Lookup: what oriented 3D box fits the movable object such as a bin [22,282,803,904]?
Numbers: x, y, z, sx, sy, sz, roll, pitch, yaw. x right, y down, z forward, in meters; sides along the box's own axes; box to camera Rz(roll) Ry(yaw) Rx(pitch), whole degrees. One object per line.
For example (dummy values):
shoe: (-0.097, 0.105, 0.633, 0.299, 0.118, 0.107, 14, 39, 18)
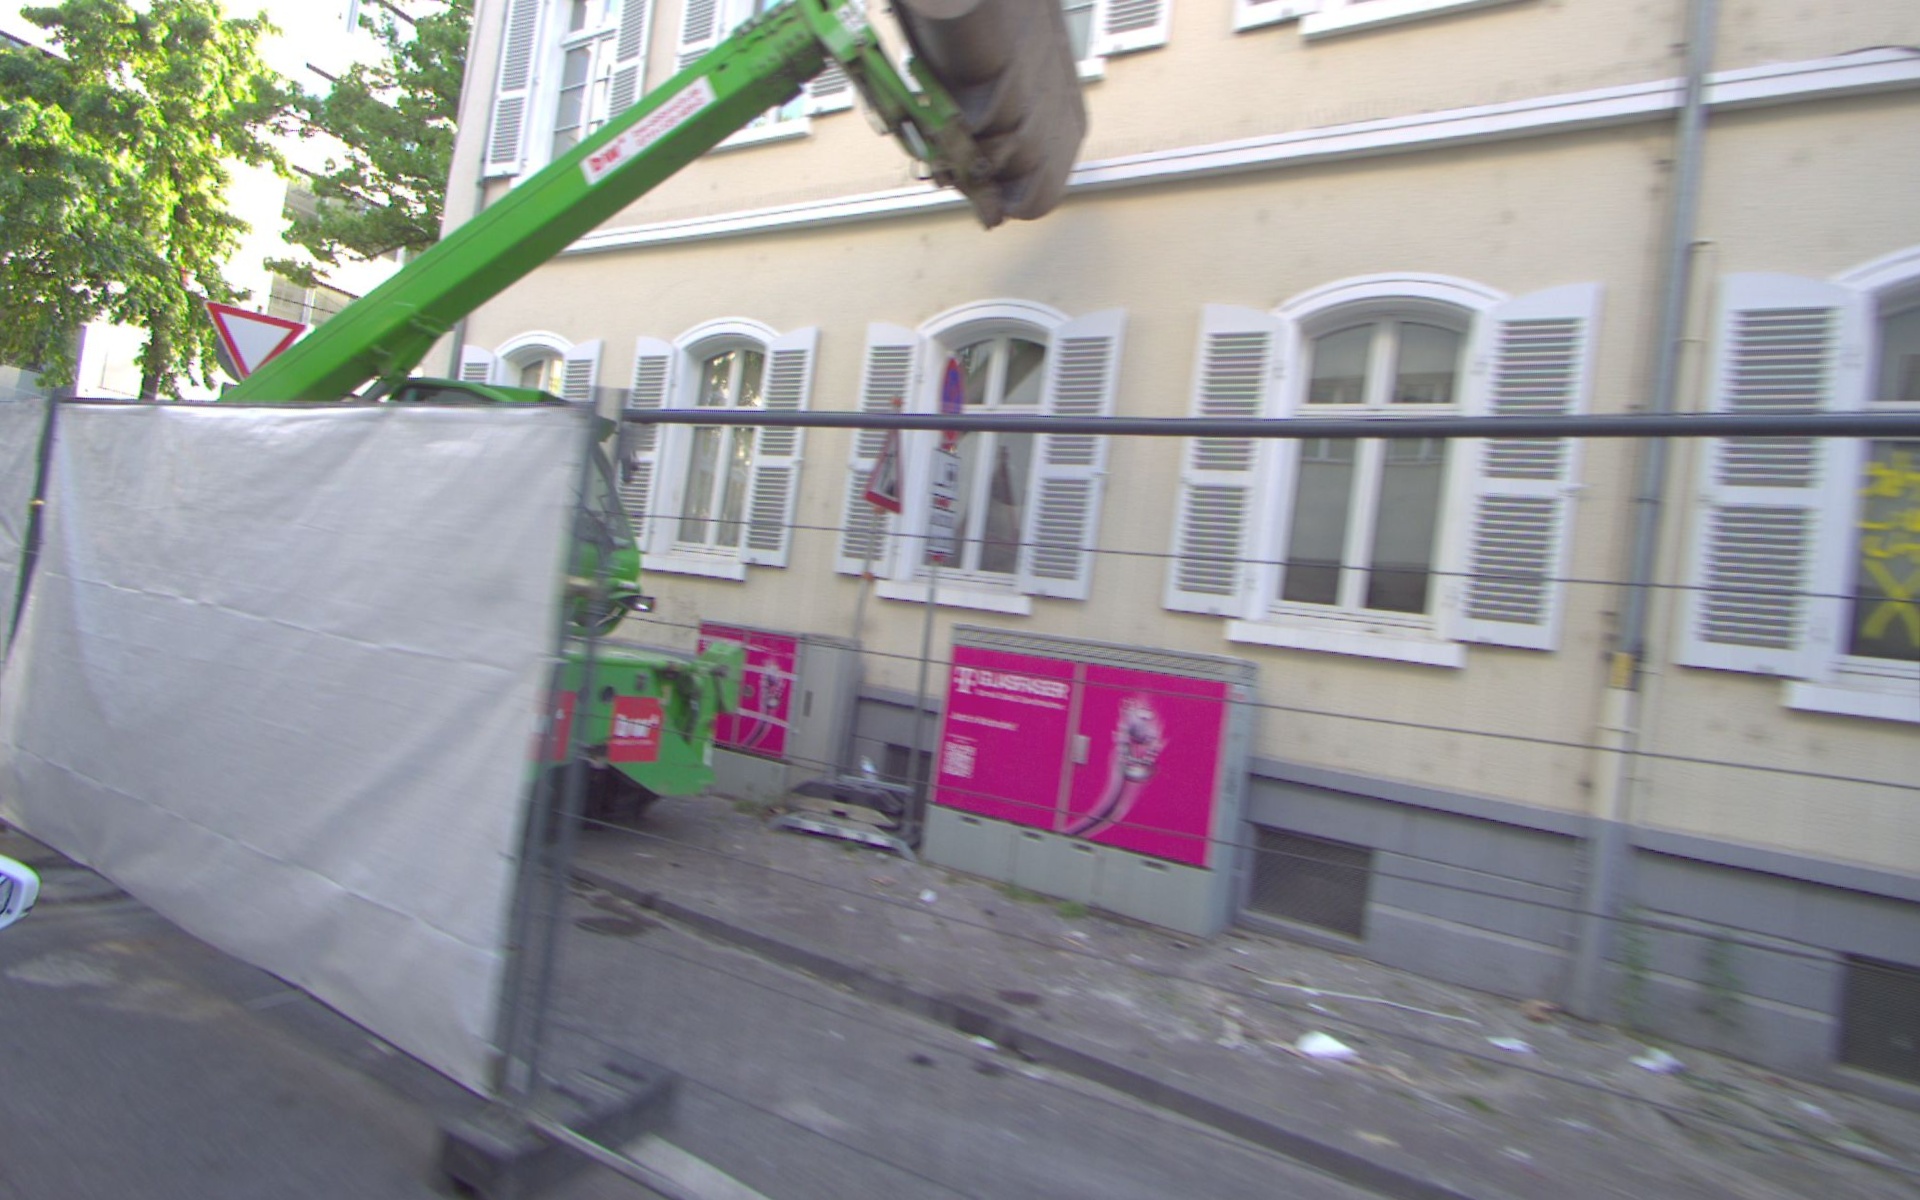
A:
movable object such as a bin: (-3.758, -0.120, 6.882, 4.376, 2.872, 2.610, 7, -1, 32)
